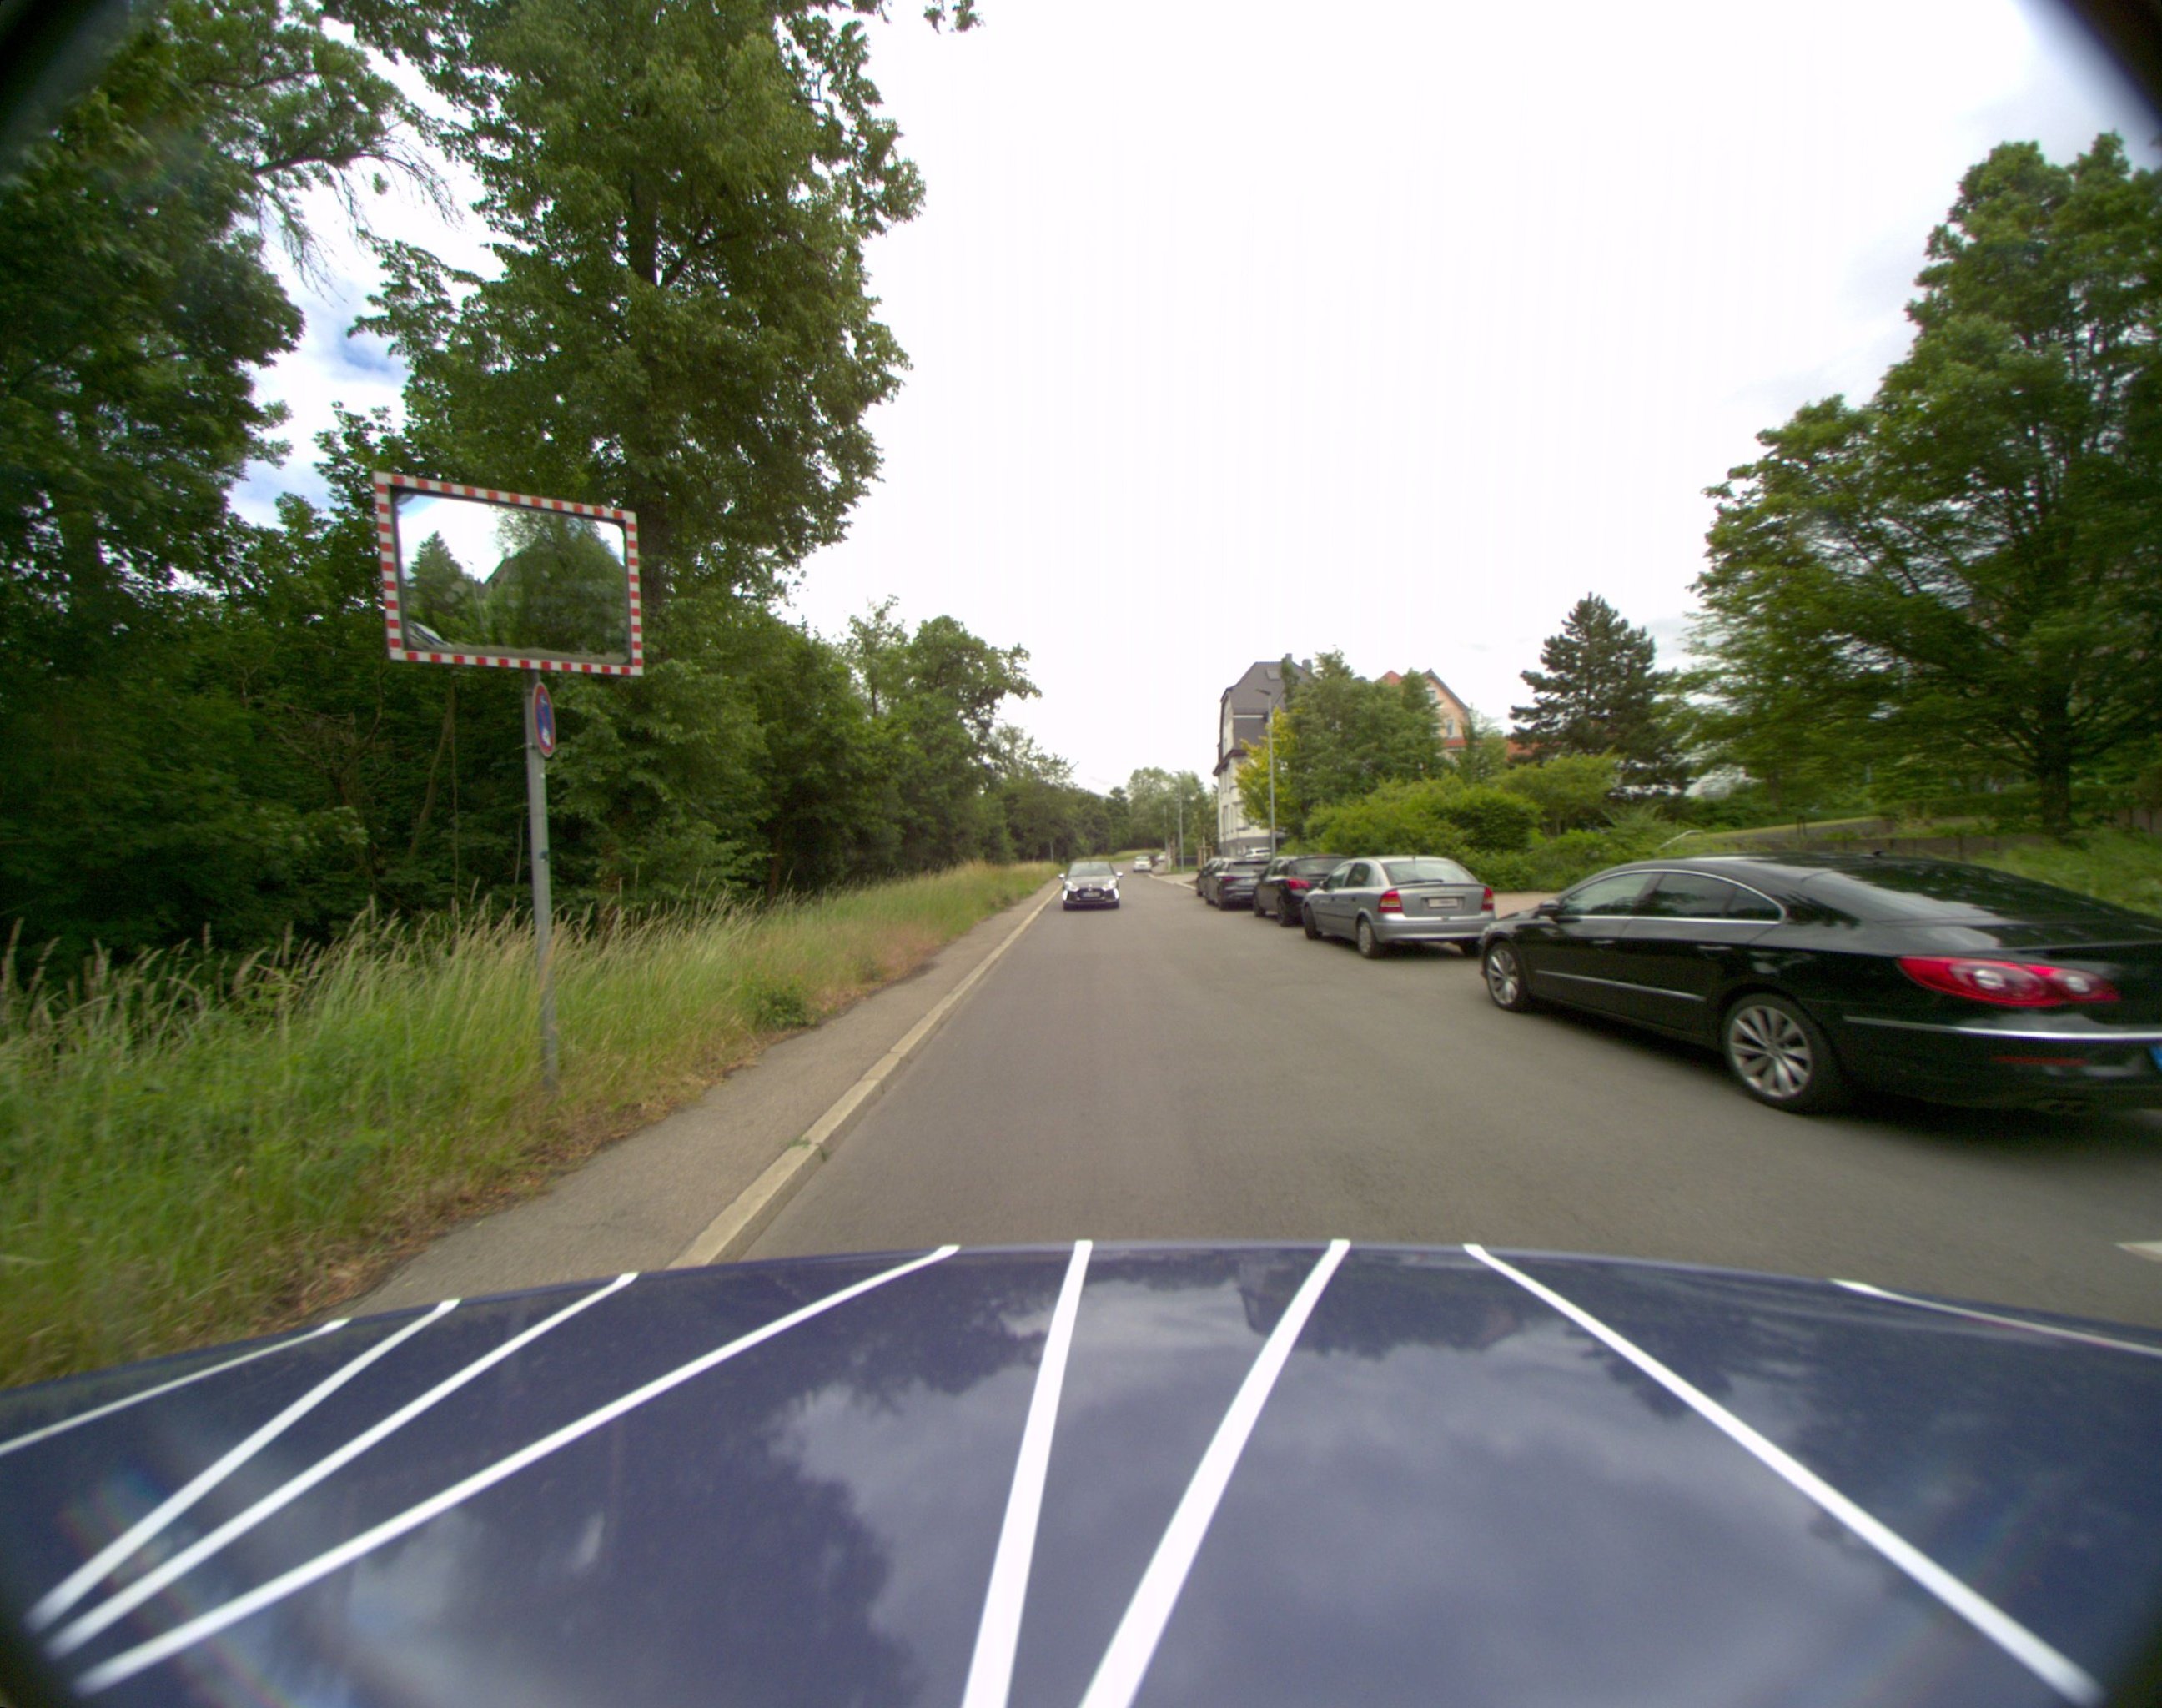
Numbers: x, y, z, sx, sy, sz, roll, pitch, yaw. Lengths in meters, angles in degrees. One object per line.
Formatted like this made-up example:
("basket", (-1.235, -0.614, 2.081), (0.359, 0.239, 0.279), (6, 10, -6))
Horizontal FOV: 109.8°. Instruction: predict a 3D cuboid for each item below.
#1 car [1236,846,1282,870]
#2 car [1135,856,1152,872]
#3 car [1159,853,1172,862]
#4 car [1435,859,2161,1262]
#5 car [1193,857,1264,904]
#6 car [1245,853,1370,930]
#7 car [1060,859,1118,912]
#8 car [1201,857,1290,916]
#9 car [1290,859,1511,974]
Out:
("car", (12.947, 0.265, 55.567), (1.911, 1.524, 4.595), (-5, 1, -3))
("car", (6.044, 0.942, 73.919), (1.646, 1.461, 4.072), (0, 0, 4))
("car", (14.022, 0.552, 125.291), (1.735, 1.420, 3.460), (0, 1, 13))
("car", (4.626, 0.800, 5.425), (1.782, 1.423, 5.105), (-2, 0, 0))
("car", (5.132, 0.865, 26.997), (1.687, 1.473, 4.693), (-1, 0, 1))
("car", (4.842, 0.736, 16.805), (1.628, 1.473, 4.000), (-1, 0, 1))
("car", (0.317, 0.897, 23.118), (1.619, 1.460, 4.001), (0, 0, 3))
("car", (4.632, 0.860, 22.035), (1.710, 1.473, 4.496), (-1, 0, 2))
("car", (4.691, 0.818, 11.915), (1.628, 1.423, 4.351), (-1, 0, 0))
